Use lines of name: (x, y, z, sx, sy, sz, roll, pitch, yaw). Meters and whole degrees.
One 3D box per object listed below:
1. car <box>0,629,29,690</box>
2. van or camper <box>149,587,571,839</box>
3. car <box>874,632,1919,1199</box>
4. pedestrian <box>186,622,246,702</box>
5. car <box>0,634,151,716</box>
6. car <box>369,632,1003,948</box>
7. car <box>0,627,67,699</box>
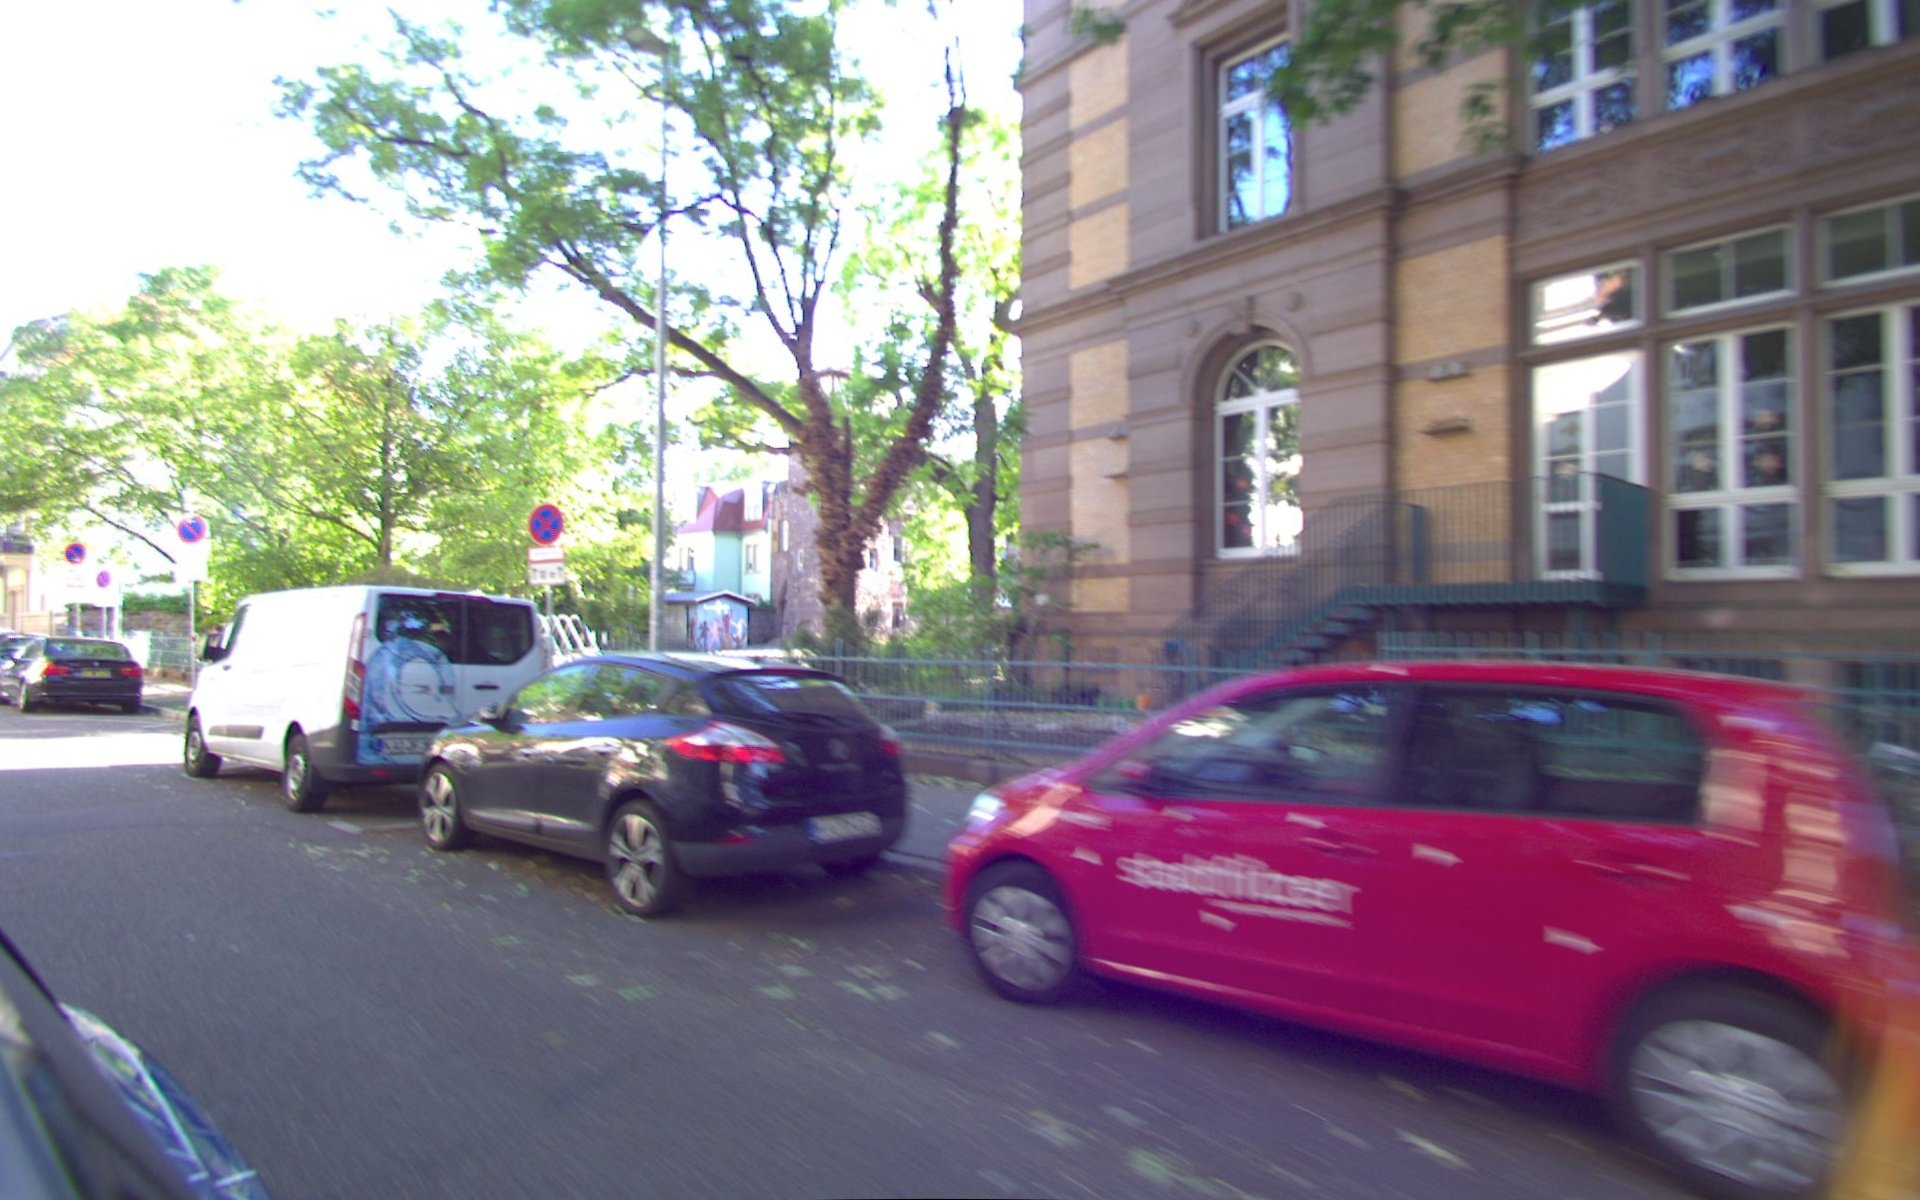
car: (-27.196, 1.578, 27.778, 4.464, 1.603, 1.762, -1, -4, 40)
van or camper: (-6.427, 1.001, 10.517, 5.456, 1.995, 1.903, -1, -5, 39)
car: (1.674, 0.903, 3.977, 4.024, 1.471, 1.585, -1, -5, 40)
pedestrian: (-15.168, 1.243, 20.644, 0.529, 1.589, 0.872, -1, -2, 40)
car: (-17.596, 1.430, 19.782, 4.774, 1.406, 1.697, -1, -6, 39)
car: (-2.128, 1.005, 7.063, 4.602, 1.468, 1.980, -1, -4, 40)
car: (-22.485, 1.446, 23.748, 4.149, 1.585, 1.659, -2, -5, 41)
